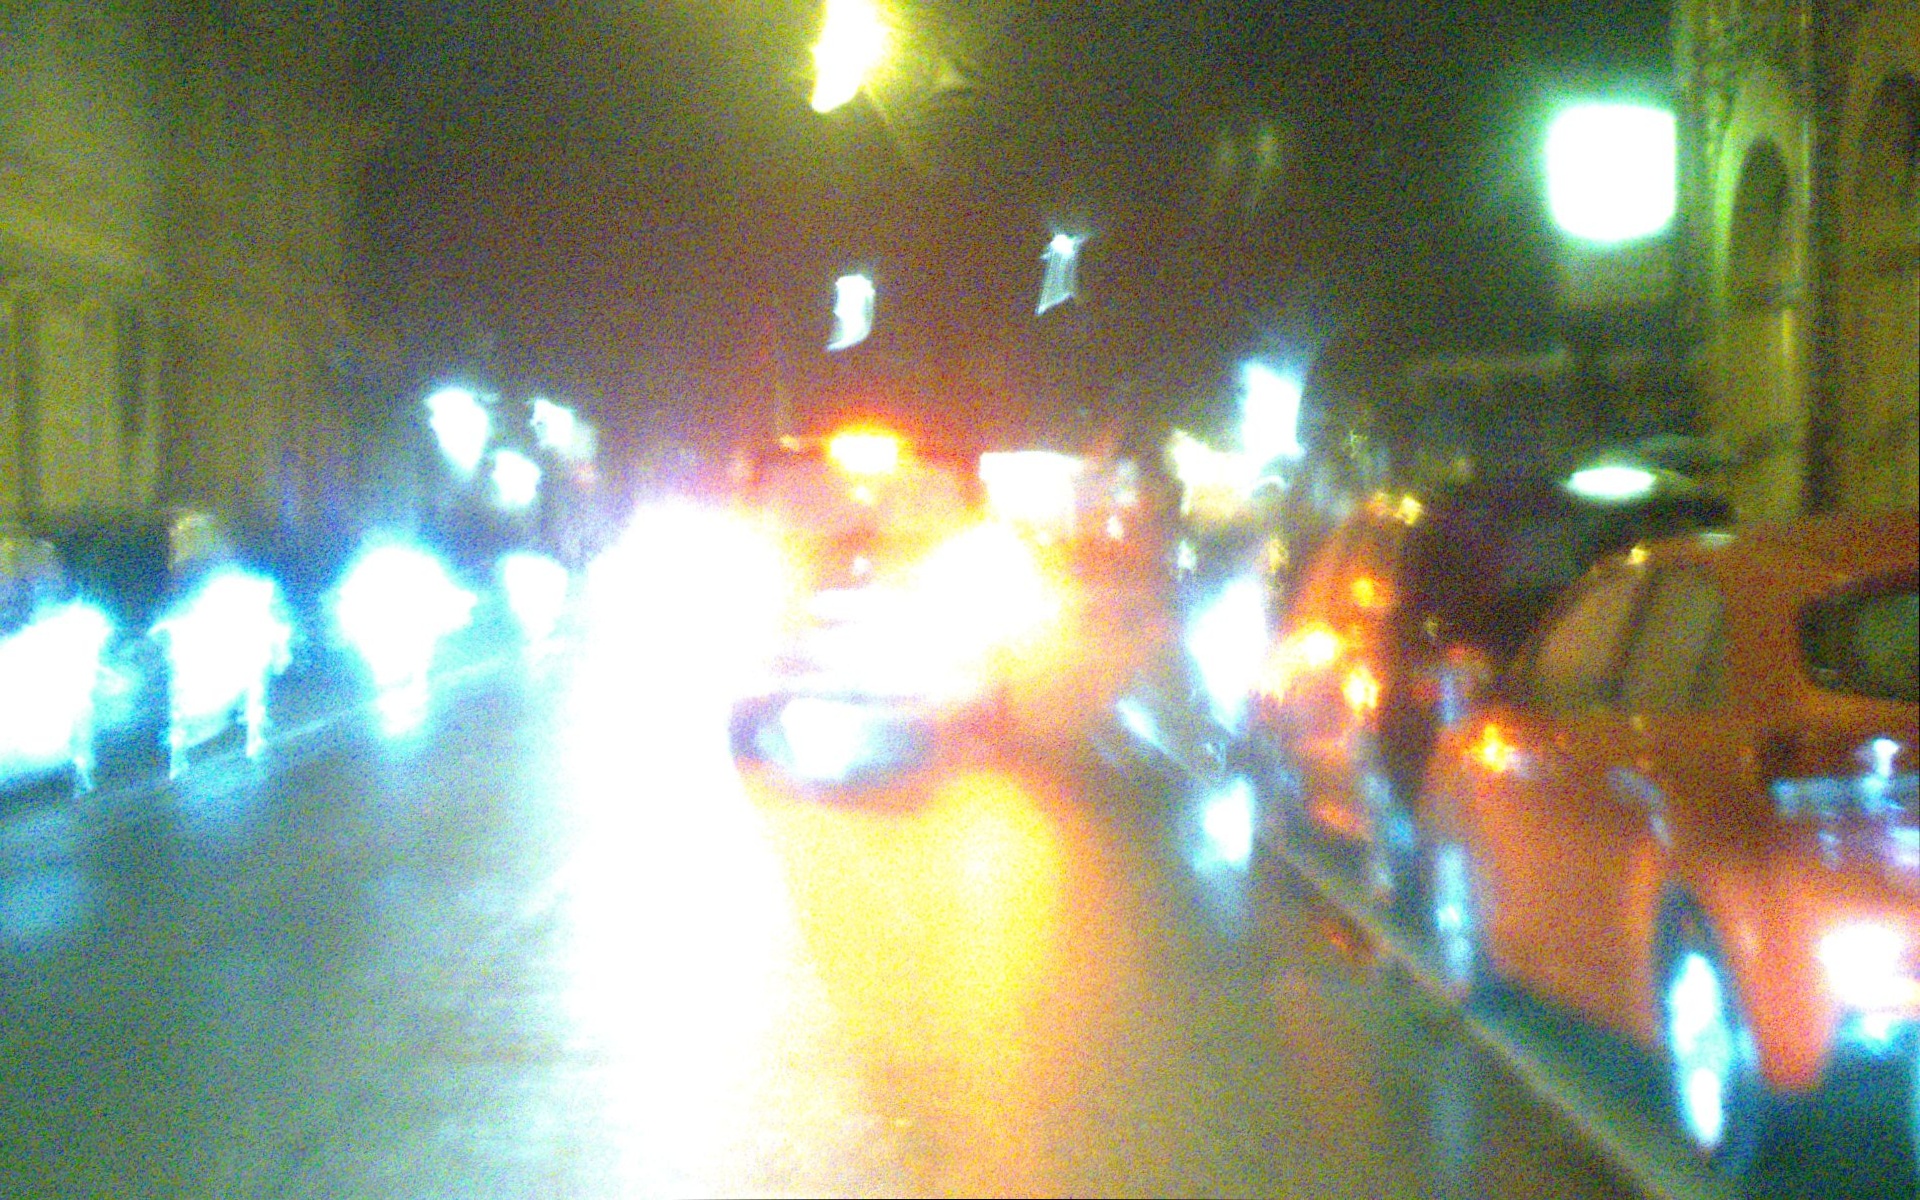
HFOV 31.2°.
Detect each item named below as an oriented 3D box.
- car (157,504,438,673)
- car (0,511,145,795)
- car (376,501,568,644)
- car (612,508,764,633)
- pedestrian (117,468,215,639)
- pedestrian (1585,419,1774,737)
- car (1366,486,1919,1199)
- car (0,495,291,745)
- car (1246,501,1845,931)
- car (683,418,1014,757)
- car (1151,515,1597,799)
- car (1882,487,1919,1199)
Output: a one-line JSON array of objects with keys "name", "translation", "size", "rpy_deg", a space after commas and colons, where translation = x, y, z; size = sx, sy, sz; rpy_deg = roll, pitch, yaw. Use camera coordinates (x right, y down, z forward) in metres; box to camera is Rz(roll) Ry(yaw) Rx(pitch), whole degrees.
[{"name": "car", "translation": [-6.224, -0.158, 32.778], "size": [1.832, 1.481, 4.595], "rpy_deg": [-1, 1, -1]}, {"name": "car", "translation": [-5.919, 0.255, 19.012], "size": [1.832, 1.476, 4.307], "rpy_deg": [-1, 1, -1]}, {"name": "car", "translation": [-6.154, -0.388, 43.799], "size": [1.832, 1.711, 4.595], "rpy_deg": [-1, 1, -1]}, {"name": "car", "translation": [-3.856, -0.462, 49.369], "size": [1.920, 1.612, 4.575], "rpy_deg": [-3, 2, -2]}, {"name": "pedestrian", "translation": [-8.529, -0.497, 36.954], "size": [0.743, 1.798, 0.986], "rpy_deg": [1, 1, 3]}, {"name": "pedestrian", "translation": [4.215, -0.149, 20.212], "size": [0.862, 1.782, 1.083], "rpy_deg": [-3, 2, 3]}, {"name": "car", "translation": [2.283, 0.463, 8.923], "size": [1.689, 1.493, 3.892], "rpy_deg": [-1, 1, -5]}, {"name": "car", "translation": [-5.850, 0.087, 23.761], "size": [1.745, 1.583, 3.766], "rpy_deg": [-1, 1, -1]}, {"name": "car", "translation": [2.242, 0.365, 14.139], "size": [1.689, 1.493, 3.892], "rpy_deg": [-1, 1, -1]}, {"name": "car", "translation": [-0.687, -0.140, 23.281], "size": [1.996, 2.042, 4.694], "rpy_deg": [-1, 2, 0]}, {"name": "car", "translation": [2.225, 0.242, 19.528], "size": [1.917, 1.407, 4.001], "rpy_deg": [-1, 1, -2]}, {"name": "car", "translation": [2.700, 0.564, 4.005], "size": [1.993, 1.459, 4.417], "rpy_deg": [-1, 1, -1]}]
